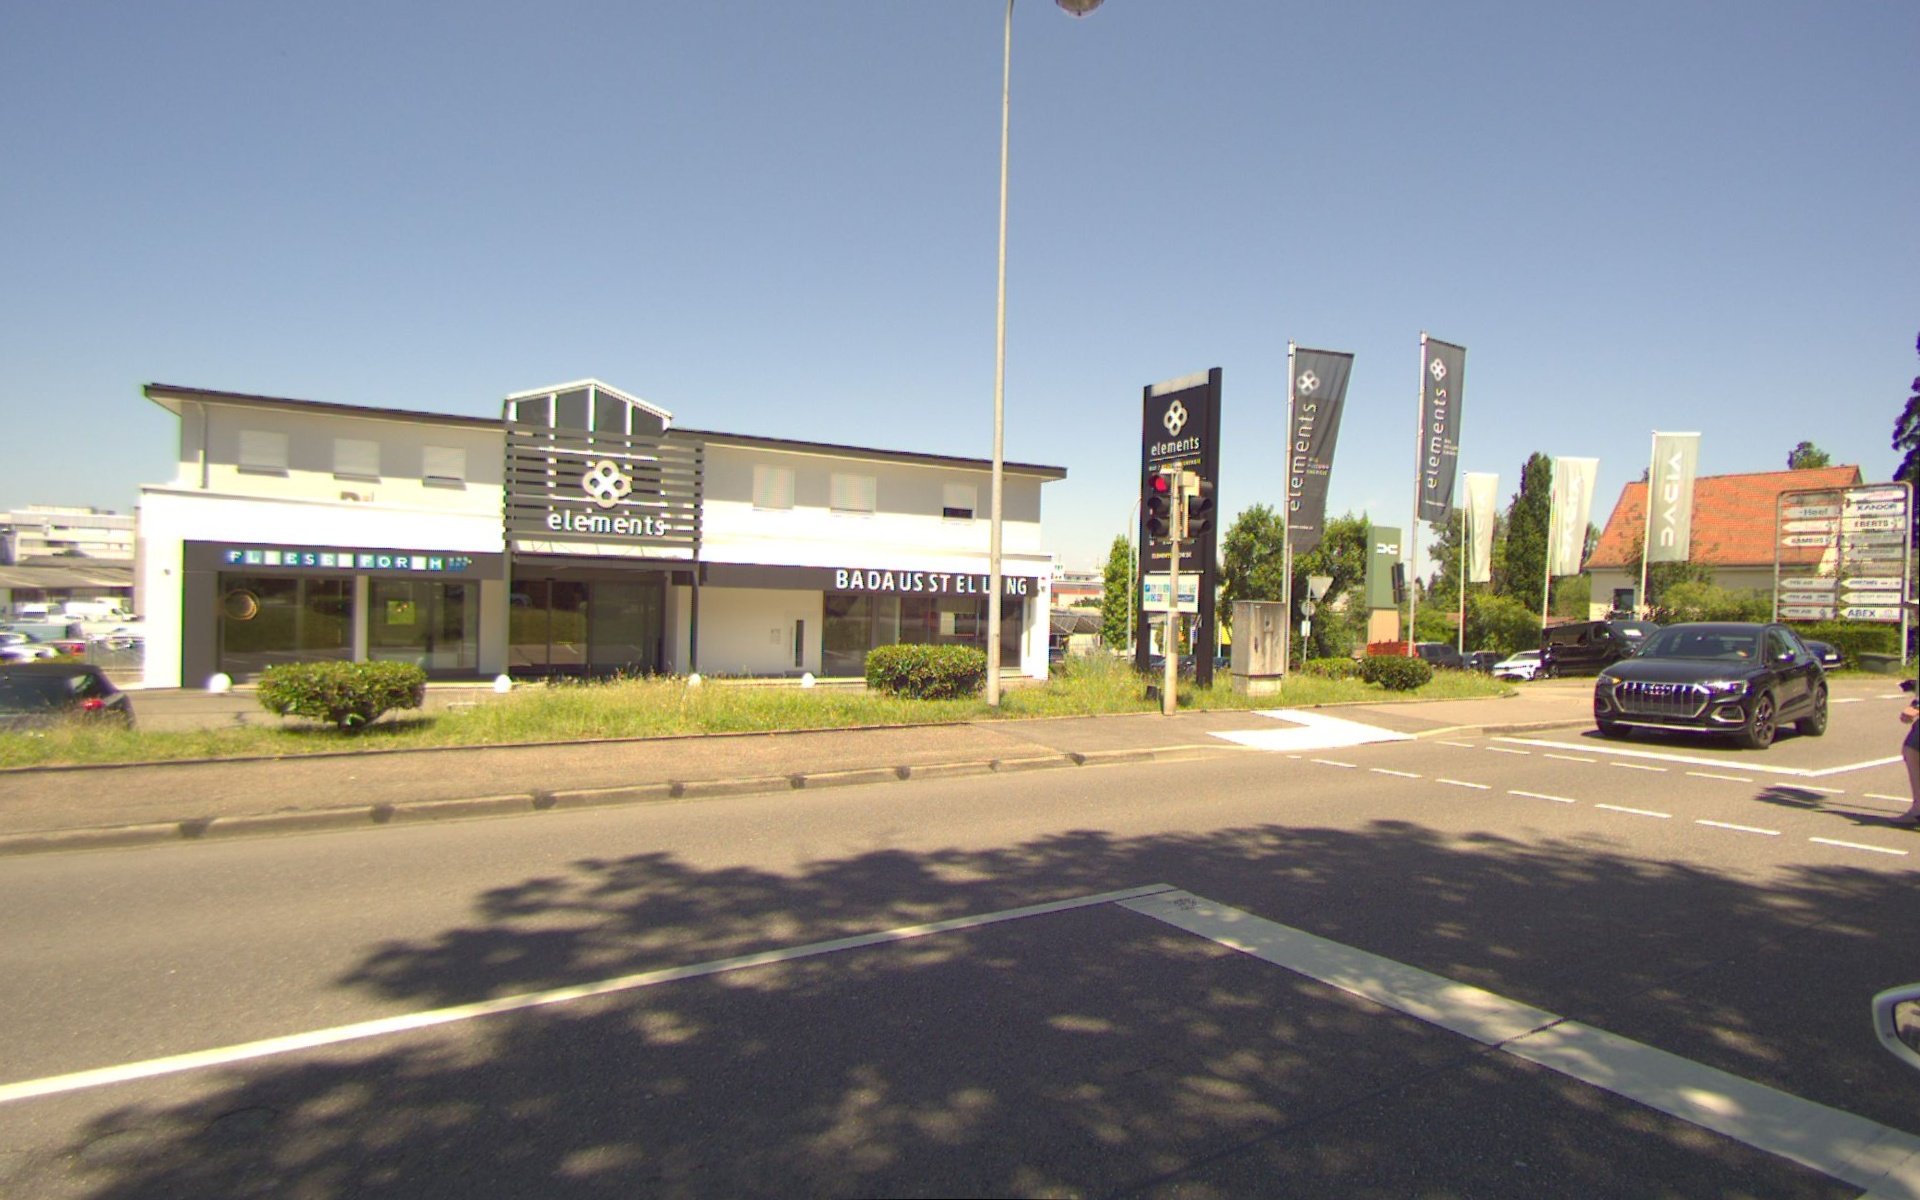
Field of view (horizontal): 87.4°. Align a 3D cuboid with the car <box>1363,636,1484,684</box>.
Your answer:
[{"bbox_3d":[17.825,2.311,38.665,4.022,1.744,1.809,2,-1,-16],"label":"car"}]

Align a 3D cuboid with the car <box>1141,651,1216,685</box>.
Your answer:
[{"bbox_3d":[10.916,3.357,50.075,3.973,1.506,1.735,2,-1,-44],"label":"car"}]

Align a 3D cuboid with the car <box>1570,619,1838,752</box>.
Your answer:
[{"bbox_3d":[10.550,1.093,14.148,4.263,1.576,1.912,2,-1,-37],"label":"car"}]

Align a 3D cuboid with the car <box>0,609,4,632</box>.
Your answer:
[{"bbox_3d":[-74.571,1.619,75.381,3.725,1.778,1.719,-2,1,-28],"label":"car"}]

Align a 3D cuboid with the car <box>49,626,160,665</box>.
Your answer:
[{"bbox_3d":[-41.056,2.178,48.334,3.726,1.778,1.719,2,-1,-28],"label":"car"}]

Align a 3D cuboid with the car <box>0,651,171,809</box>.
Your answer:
[{"bbox_3d":[-11.698,1.508,12.687,1.746,1.553,4.076,1,-1,-24],"label":"car"}]

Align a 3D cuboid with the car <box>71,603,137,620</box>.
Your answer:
[{"bbox_3d":[-95.775,1.327,112.479,5.236,1.778,2.051,2,-1,-28],"label":"car"}]

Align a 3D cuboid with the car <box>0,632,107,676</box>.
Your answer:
[{"bbox_3d":[-39.356,2.308,43.218,3.726,1.778,1.719,2,-1,-28],"label":"car"}]

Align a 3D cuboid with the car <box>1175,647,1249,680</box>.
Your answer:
[{"bbox_3d":[11.998,2.979,47.741,3.841,1.434,1.632,2,-1,-44],"label":"car"}]

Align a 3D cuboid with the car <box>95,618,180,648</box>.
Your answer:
[{"bbox_3d":[-50.681,2.060,62.007,3.726,1.778,1.719,2,-1,-28],"label":"car"}]

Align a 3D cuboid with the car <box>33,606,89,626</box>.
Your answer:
[{"bbox_3d":[-87.991,1.569,98.375,3.726,1.778,1.719,1,2,-28],"label":"car"}]

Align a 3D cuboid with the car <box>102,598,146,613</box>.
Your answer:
[{"bbox_3d":[-99.644,0.642,119.748,3.726,1.778,1.719,2,-1,-28],"label":"car"}]

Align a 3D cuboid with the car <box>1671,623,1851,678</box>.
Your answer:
[{"bbox_3d":[24.958,1.531,31.484,1.751,1.524,4.129,1,-1,-20],"label":"car"}]

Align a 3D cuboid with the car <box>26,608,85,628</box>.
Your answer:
[{"bbox_3d":[-84.021,1.690,93.325,3.723,1.778,1.720,0,1,-26],"label":"car"}]

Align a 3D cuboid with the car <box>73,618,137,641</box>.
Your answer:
[{"bbox_3d":[-71.019,2.445,83.451,3.726,1.778,1.719,1,2,-28],"label":"car"}]

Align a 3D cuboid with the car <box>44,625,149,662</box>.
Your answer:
[{"bbox_3d":[-44.138,2.207,51.413,3.726,1.778,1.719,2,-1,-28],"label":"car"}]

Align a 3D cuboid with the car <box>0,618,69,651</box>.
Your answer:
[{"bbox_3d":[-53.412,1.948,57.119,3.726,1.778,1.719,2,-1,-28],"label":"car"}]

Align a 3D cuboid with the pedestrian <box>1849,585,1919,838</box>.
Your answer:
[{"bbox_3d":[7.113,0.793,7.369,0.689,1.785,0.545,1,0,-4],"label":"pedestrian"}]

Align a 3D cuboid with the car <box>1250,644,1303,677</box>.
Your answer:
[{"bbox_3d":[18.676,3.530,59.180,1.785,1.744,4.075,1,0,36],"label":"car"}]

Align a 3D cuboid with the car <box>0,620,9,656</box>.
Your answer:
[{"bbox_3d":[-49.201,1.861,48.969,3.726,1.778,1.719,2,-1,-28],"label":"car"}]

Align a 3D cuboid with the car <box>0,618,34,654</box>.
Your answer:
[{"bbox_3d":[-51.423,1.887,52.793,3.726,1.778,1.719,2,1,-28],"label":"car"}]

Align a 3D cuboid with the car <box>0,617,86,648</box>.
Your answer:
[{"bbox_3d":[-54.769,1.923,59.847,3.726,1.778,1.719,2,-1,-28],"label":"car"}]

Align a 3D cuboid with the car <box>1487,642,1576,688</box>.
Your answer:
[{"bbox_3d":[23.982,2.684,42.097,4.053,1.744,1.795,2,0,-38],"label":"car"}]

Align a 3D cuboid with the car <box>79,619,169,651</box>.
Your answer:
[{"bbox_3d":[-49.421,2.082,59.472,3.726,1.778,1.719,2,-1,-28],"label":"car"}]

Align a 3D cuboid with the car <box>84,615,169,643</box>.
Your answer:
[{"bbox_3d":[-55.216,1.939,66.651,4.004,1.778,1.719,2,-1,-28],"label":"car"}]
